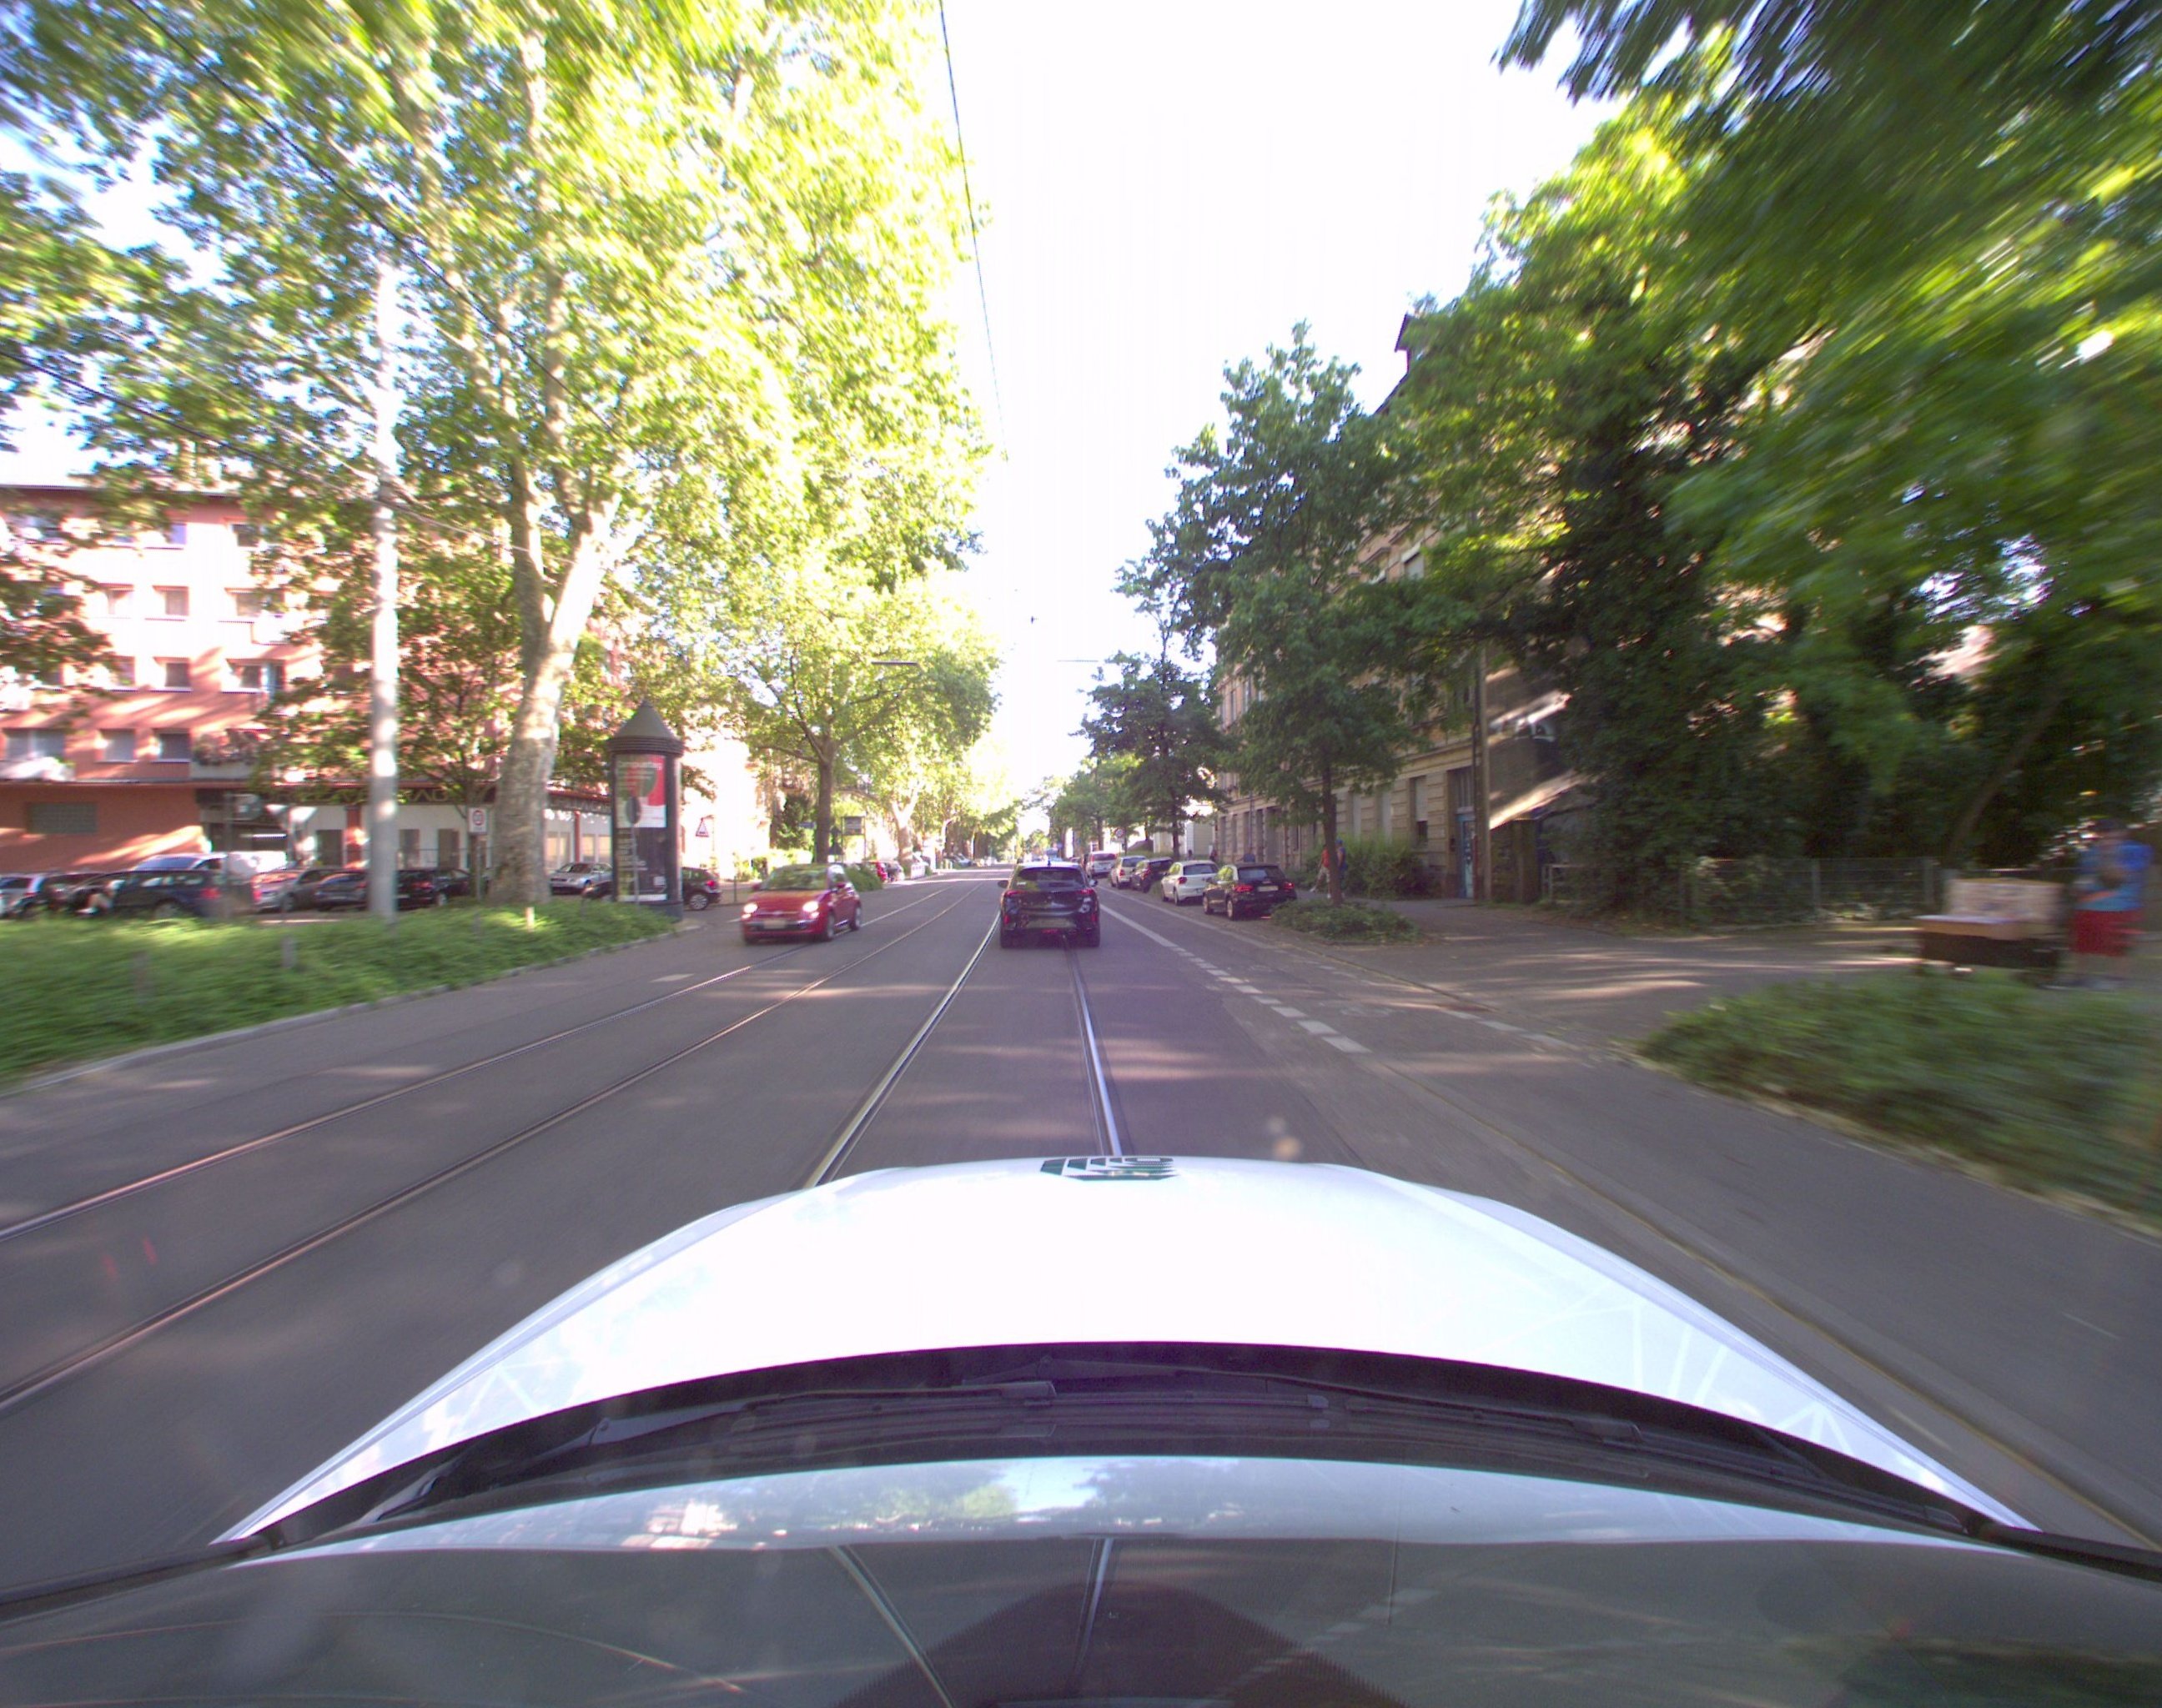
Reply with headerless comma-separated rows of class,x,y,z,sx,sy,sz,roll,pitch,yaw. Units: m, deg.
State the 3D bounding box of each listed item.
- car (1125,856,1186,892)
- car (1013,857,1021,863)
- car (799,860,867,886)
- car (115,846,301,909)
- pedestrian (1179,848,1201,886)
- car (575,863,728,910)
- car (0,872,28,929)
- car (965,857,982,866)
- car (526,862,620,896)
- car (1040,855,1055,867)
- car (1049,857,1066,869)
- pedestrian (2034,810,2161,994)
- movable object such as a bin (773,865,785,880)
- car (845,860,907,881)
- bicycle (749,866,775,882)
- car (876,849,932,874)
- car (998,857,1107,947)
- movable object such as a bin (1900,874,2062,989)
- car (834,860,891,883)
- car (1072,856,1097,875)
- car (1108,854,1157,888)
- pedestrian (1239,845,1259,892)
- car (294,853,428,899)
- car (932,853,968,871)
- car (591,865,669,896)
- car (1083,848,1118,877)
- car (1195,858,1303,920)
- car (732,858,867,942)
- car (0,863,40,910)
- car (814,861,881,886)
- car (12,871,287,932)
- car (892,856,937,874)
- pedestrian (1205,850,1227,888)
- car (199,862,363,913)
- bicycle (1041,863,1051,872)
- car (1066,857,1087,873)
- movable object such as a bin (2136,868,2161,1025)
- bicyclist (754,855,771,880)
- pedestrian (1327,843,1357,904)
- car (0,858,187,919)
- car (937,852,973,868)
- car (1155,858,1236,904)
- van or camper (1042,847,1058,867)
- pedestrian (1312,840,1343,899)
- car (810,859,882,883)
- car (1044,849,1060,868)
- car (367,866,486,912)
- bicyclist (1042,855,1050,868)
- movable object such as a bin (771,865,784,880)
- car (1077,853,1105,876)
car,3.354,0.877,37.497,1.882,1.467,4.583,-3,0,-6
car,-18.185,1.715,231.201,2.250,1.840,5.521,-2,0,-5
car,-14.334,1.111,47.238,3.412,1.465,1.695,0,-1,-3
car,-30.094,0.764,28.355,1.996,2.003,4.897,0,-1,-14
pedestrian,4.955,0.595,37.039,0.726,1.693,0.953,0,-1,-10
car,-13.673,1.014,26.147,3.987,1.449,1.737,0,0,-10
car,-29.731,1.192,20.047,4.472,1.450,1.816,0,-1,-13
car,-26.113,1.793,197.759,3.972,2.014,2.001,0,-1,1
car,-22.577,1.088,36.374,1.944,1.407,3.886,0,-1,-4
car,-5.657,1.166,138.235,2.250,1.840,5.521,-2,0,-5
car,-3.122,1.211,107.196,1.881,1.434,4.522,-3,0,-5
pedestrian,9.911,0.451,7.924,0.616,1.726,0.554,0,-1,-2
movable object such as a bin,-22.187,1.369,59.818,0.721,1.109,0.560,0,-1,-3
car,-14.447,1.179,57.556,3.981,1.465,1.851,0,-1,-5
bicycle,-20.123,1.252,51.374,0.967,0.999,2.575,0,-1,-9
car,-16.681,0.723,76.964,5.030,2.259,2.080,0,-1,-8
car,-0.609,0.790,15.154,1.760,1.460,3.944,0,-1,-4
movable object such as a bin,9.563,0.787,8.687,0.666,1.126,0.953,0,-1,-12
car,-14.628,1.170,54.685,3.412,1.465,1.757,0,-1,-3
car,0.264,1.027,72.770,1.710,1.514,4.028,-3,0,-6
car,2.583,0.868,42.200,1.881,1.568,4.235,-3,0,-5
pedestrian,6.514,0.554,31.602,0.722,1.793,0.601,0,-1,6
car,-25.448,0.752,28.985,1.997,1.526,3.978,0,-1,-16
car,-19.674,1.160,122.551,5.028,2.374,2.078,-4,0,-5
car,-22.881,1.303,41.486,1.944,1.487,3.994,0,-1,-4
car,1.327,0.612,57.920,1.881,1.851,4.959,-3,0,-5
car,4.345,0.868,21.629,1.671,1.412,3.834,-3,0,-6
car,-5.576,0.844,16.552,1.657,1.444,3.468,-3,0,-4
car,-38.287,1.108,27.133,1.946,1.618,4.465,0,-1,-12
car,-14.202,1.167,49.712,3.593,1.465,1.685,0,-1,-3
car,-24.185,1.191,21.344,4.528,1.489,1.853,0,-1,-11
car,-16.923,1.104,82.781,4.296,1.801,1.921,0,0,-8
pedestrian,6.141,0.674,37.054,0.727,1.709,0.852,0,-1,-13
car,-27.589,1.083,28.338,1.996,1.618,4.536,0,-1,-14
bicycle,-4.150,1.613,96.837,0.966,0.999,2.577,0,-1,-6
car,-0.504,1.065,81.313,1.700,1.423,3.971,-4,0,-5
movable object such as a bin,8.535,0.703,5.696,0.635,1.202,1.307,-3,0,6
bicyclist,-20.130,0.850,51.502,0.799,1.507,1.114,0,-1,-9
pedestrian,7.837,0.586,24.451,0.598,1.793,0.726,0,-1,-7
car,-33.345,1.078,27.179,1.992,1.845,4.906,0,-1,-8
car,-20.908,1.024,135.187,5.622,2.593,2.195,0,-1,-1
car,3.862,0.891,28.200,1.881,1.368,4.100,-3,0,-5
van or camper,-5.005,0.490,131.086,2.250,3.216,5.521,-2,0,-5
pedestrian,7.623,0.477,25.155,0.726,1.793,0.598,0,-1,-11
car,-15.068,1.076,52.362,4.073,1.465,1.819,0,-1,-3
car,-4.462,0.711,124.552,2.081,2.772,4.689,-2,0,-5
car,-23.264,1.186,29.163,1.815,1.493,3.980,0,-1,-15
bicyclist,-4.152,0.881,96.818,0.957,1.499,1.092,0,-1,-6
movable object such as a bin,-22.082,1.349,59.295,0.723,1.109,0.542,0,-1,-3
car,0.799,0.860,66.839,1.882,1.766,4.670,-1,0,-5
